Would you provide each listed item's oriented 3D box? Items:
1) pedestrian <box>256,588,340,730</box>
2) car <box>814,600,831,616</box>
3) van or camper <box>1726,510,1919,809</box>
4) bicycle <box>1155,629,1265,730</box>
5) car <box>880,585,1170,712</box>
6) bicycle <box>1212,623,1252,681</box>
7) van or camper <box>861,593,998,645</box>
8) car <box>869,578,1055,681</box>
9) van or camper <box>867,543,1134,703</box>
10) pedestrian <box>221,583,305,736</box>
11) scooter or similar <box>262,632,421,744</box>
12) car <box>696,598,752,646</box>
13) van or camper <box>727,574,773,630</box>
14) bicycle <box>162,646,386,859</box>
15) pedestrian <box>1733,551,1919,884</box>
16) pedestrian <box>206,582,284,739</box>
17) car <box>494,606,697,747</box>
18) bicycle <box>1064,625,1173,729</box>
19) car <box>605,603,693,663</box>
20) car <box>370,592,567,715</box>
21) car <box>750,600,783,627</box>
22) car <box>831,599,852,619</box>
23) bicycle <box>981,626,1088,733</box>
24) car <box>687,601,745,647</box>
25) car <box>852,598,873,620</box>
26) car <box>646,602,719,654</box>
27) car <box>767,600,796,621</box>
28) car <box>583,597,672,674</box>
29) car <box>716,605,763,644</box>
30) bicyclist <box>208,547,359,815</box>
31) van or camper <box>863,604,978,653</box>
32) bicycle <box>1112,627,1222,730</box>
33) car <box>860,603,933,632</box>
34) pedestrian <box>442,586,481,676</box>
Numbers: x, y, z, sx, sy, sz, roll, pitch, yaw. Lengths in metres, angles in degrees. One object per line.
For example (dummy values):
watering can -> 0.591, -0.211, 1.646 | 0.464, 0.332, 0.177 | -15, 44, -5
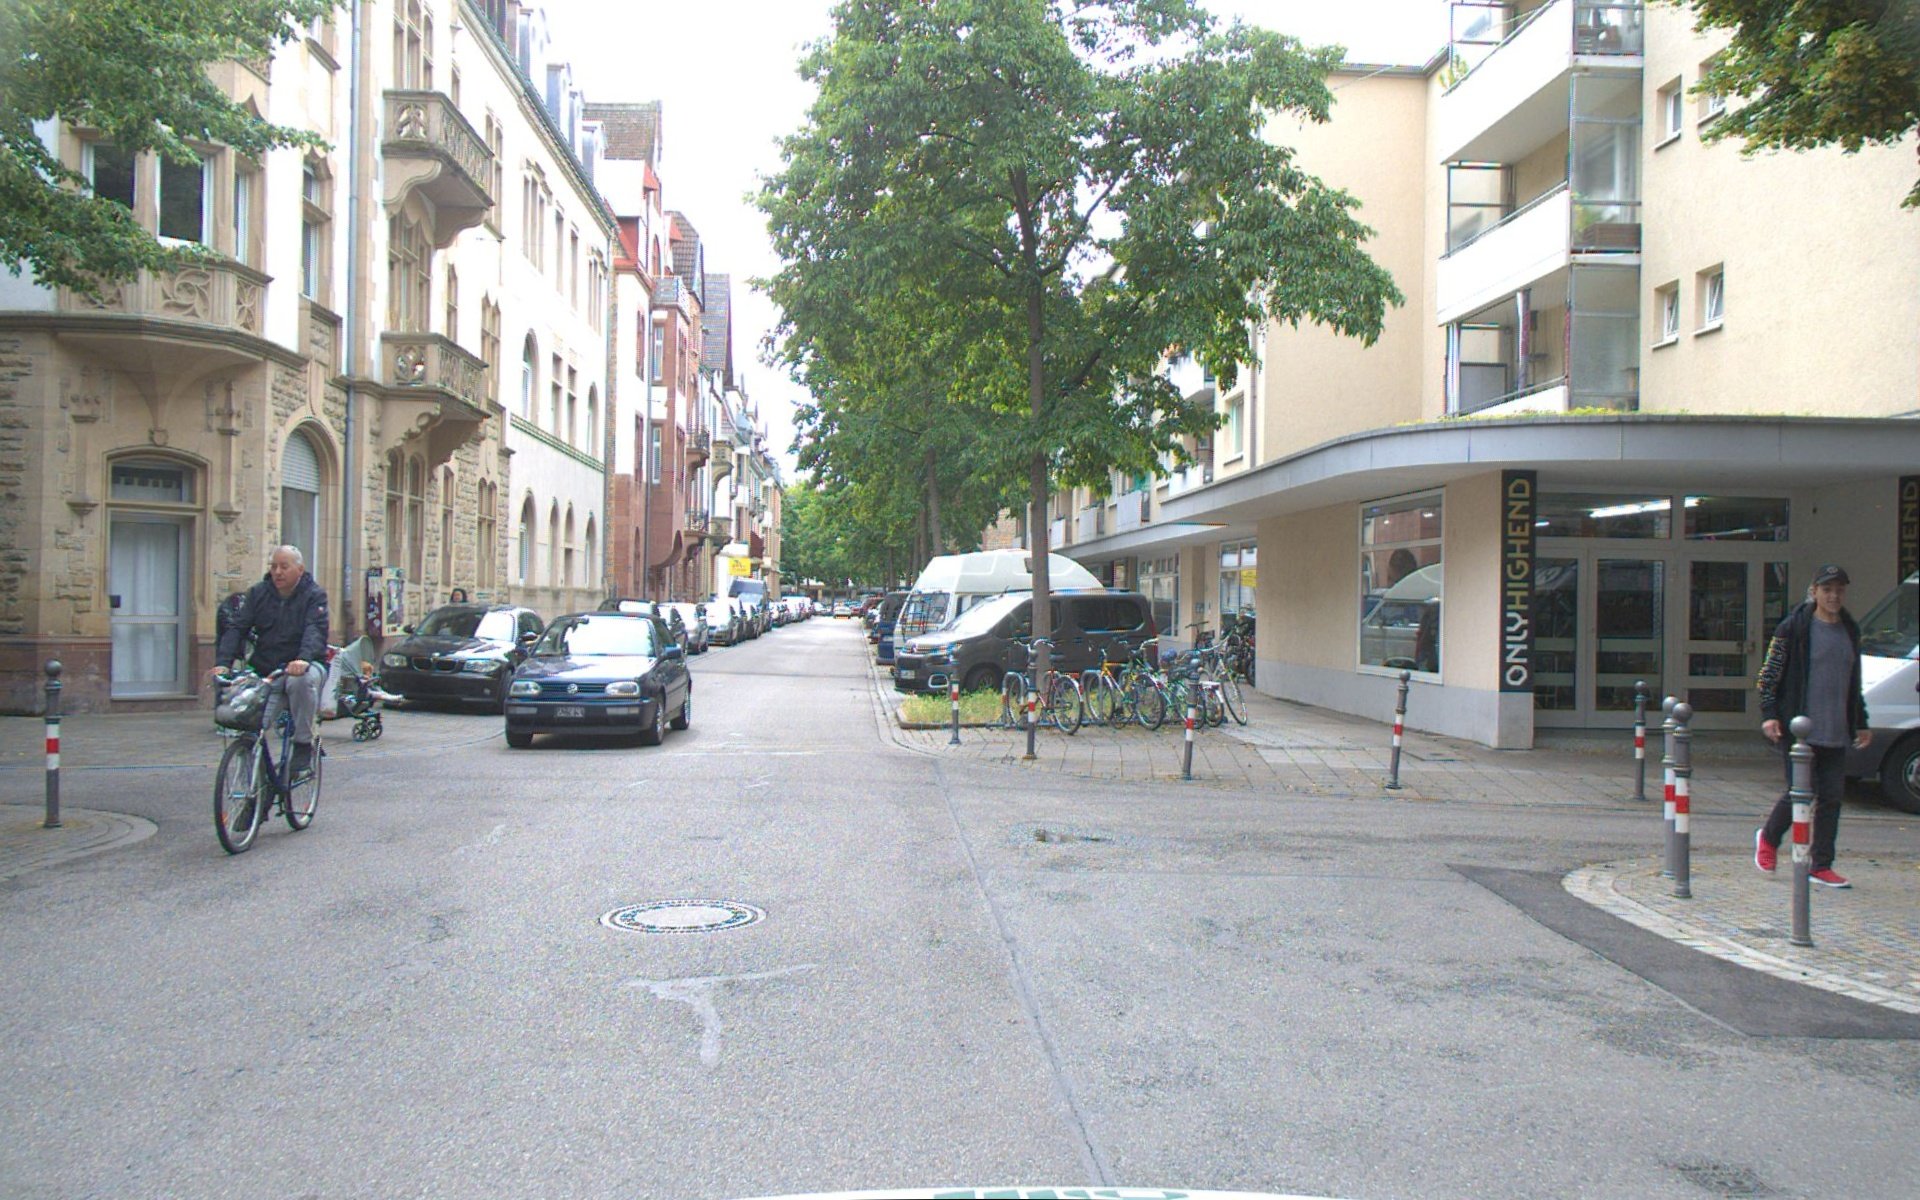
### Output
pedestrian -> -7.766, 0.679, 19.406 | 0.619, 1.621, 0.667 | 1, 0, 37
car -> -15.951, 0.959, 191.997 | 1.785, 1.673, 3.750 | 2, -1, -4
van or camper -> 10.314, 0.482, 15.019 | 5.650, 2.537, 2.138 | 1, 3, 3
bicycle -> 3.156, 0.985, 21.004 | 0.541, 1.194, 1.684 | 1, 0, -25
car -> 1.054, 0.747, 26.417 | 4.284, 1.886, 1.893 | 1, 0, -29
bicycle -> 5.432, 1.025, 33.062 | 0.475, 1.109, 1.700 | 1, 0, -2
van or camper -> -1.179, 0.712, 64.434 | 4.956, 1.902, 2.104 | -1, 0, -32
car -> 0.110, 0.647, 38.081 | 2.027, 2.235, 4.379 | 1, 0, 37
van or camper -> 0.767, 0.399, 29.297 | 4.546, 2.641, 1.886 | 1, 0, -37
pedestrian -> -7.853, 0.657, 18.650 | 0.603, 1.672, 0.604 | 1, 0, 8
scooter or similar -> -6.816, 0.958, 18.258 | 1.438, 1.123, 0.676 | 3, 0, 8
car -> -9.032, 0.820, 63.661 | 1.751, 1.675, 4.358 | 2, 0, -4
van or camper -> -10.635, 0.063, 84.151 | 1.968, 2.698, 5.312 | 1, 1, -4
bicycle -> -4.073, 0.864, 9.970 | 0.621, 1.113, 1.798 | 1, 0, -2
pedestrian -> 4.930, 0.652, 9.428 | 0.763, 1.828, 0.509 | 1, 0, -2
pedestrian -> -7.802, 0.649, 18.059 | 0.516, 1.672, 0.529 | 2, 0, 8
car -> -4.058, 0.830, 18.971 | 1.674, 1.438, 3.849 | 0, -1, -3
bicycle -> 1.945, 0.922, 20.495 | 0.541, 1.194, 1.715 | 1, 0, -25
car -> -7.927, 0.854, 42.437 | 1.692, 1.411, 3.926 | 2, -1, -3
car -> -6.850, 0.737, 23.454 | 1.675, 1.521, 3.998 | 2, -1, -2
car -> -11.711, 0.818, 100.303 | 1.754, 1.506, 4.019 | 2, 0, -4
car -> -11.573, 0.862, 161.514 | 1.954, 1.825, 3.997 | 2, -1, -3
bicycle -> 0.877, 0.926, 19.903 | 0.541, 1.194, 1.715 | 1, 0, -25
car -> -8.497, 0.818, 57.888 | 1.630, 1.445, 3.926 | 2, 0, -4
car -> -9.866, 0.919, 167.492 | 1.955, 2.048, 3.996 | 4, 0, -4
car -> -8.206, 0.803, 49.168 | 1.692, 1.411, 4.134 | 2, 0, -4
car -> -13.289, 0.795, 123.247 | 1.954, 1.501, 3.997 | 1, 0, -4
car -> -7.670, 0.788, 38.313 | 1.614, 1.598, 2.954 | 2, 1, -5
car -> -9.188, 0.999, 69.017 | 1.602, 1.498, 3.997 | 2, 0, -4
bicyclist -> -4.079, 0.475, 10.015 | 0.634, 1.565, 0.676 | 0, 0, -2
van or camper -> -1.747, 1.249, 72.816 | 4.678, 2.029, 1.980 | -1, -2, -29
bicycle -> 2.573, 0.955, 20.756 | 0.541, 1.194, 1.715 | 1, 0, -25
car -> -3.725, 1.035, 97.346 | 3.976, 1.587, 1.862 | 1, 0, -35
pedestrian -> -8.618, 0.531, 28.607 | 0.505, 1.545, 0.546 | 1, 0, -4
